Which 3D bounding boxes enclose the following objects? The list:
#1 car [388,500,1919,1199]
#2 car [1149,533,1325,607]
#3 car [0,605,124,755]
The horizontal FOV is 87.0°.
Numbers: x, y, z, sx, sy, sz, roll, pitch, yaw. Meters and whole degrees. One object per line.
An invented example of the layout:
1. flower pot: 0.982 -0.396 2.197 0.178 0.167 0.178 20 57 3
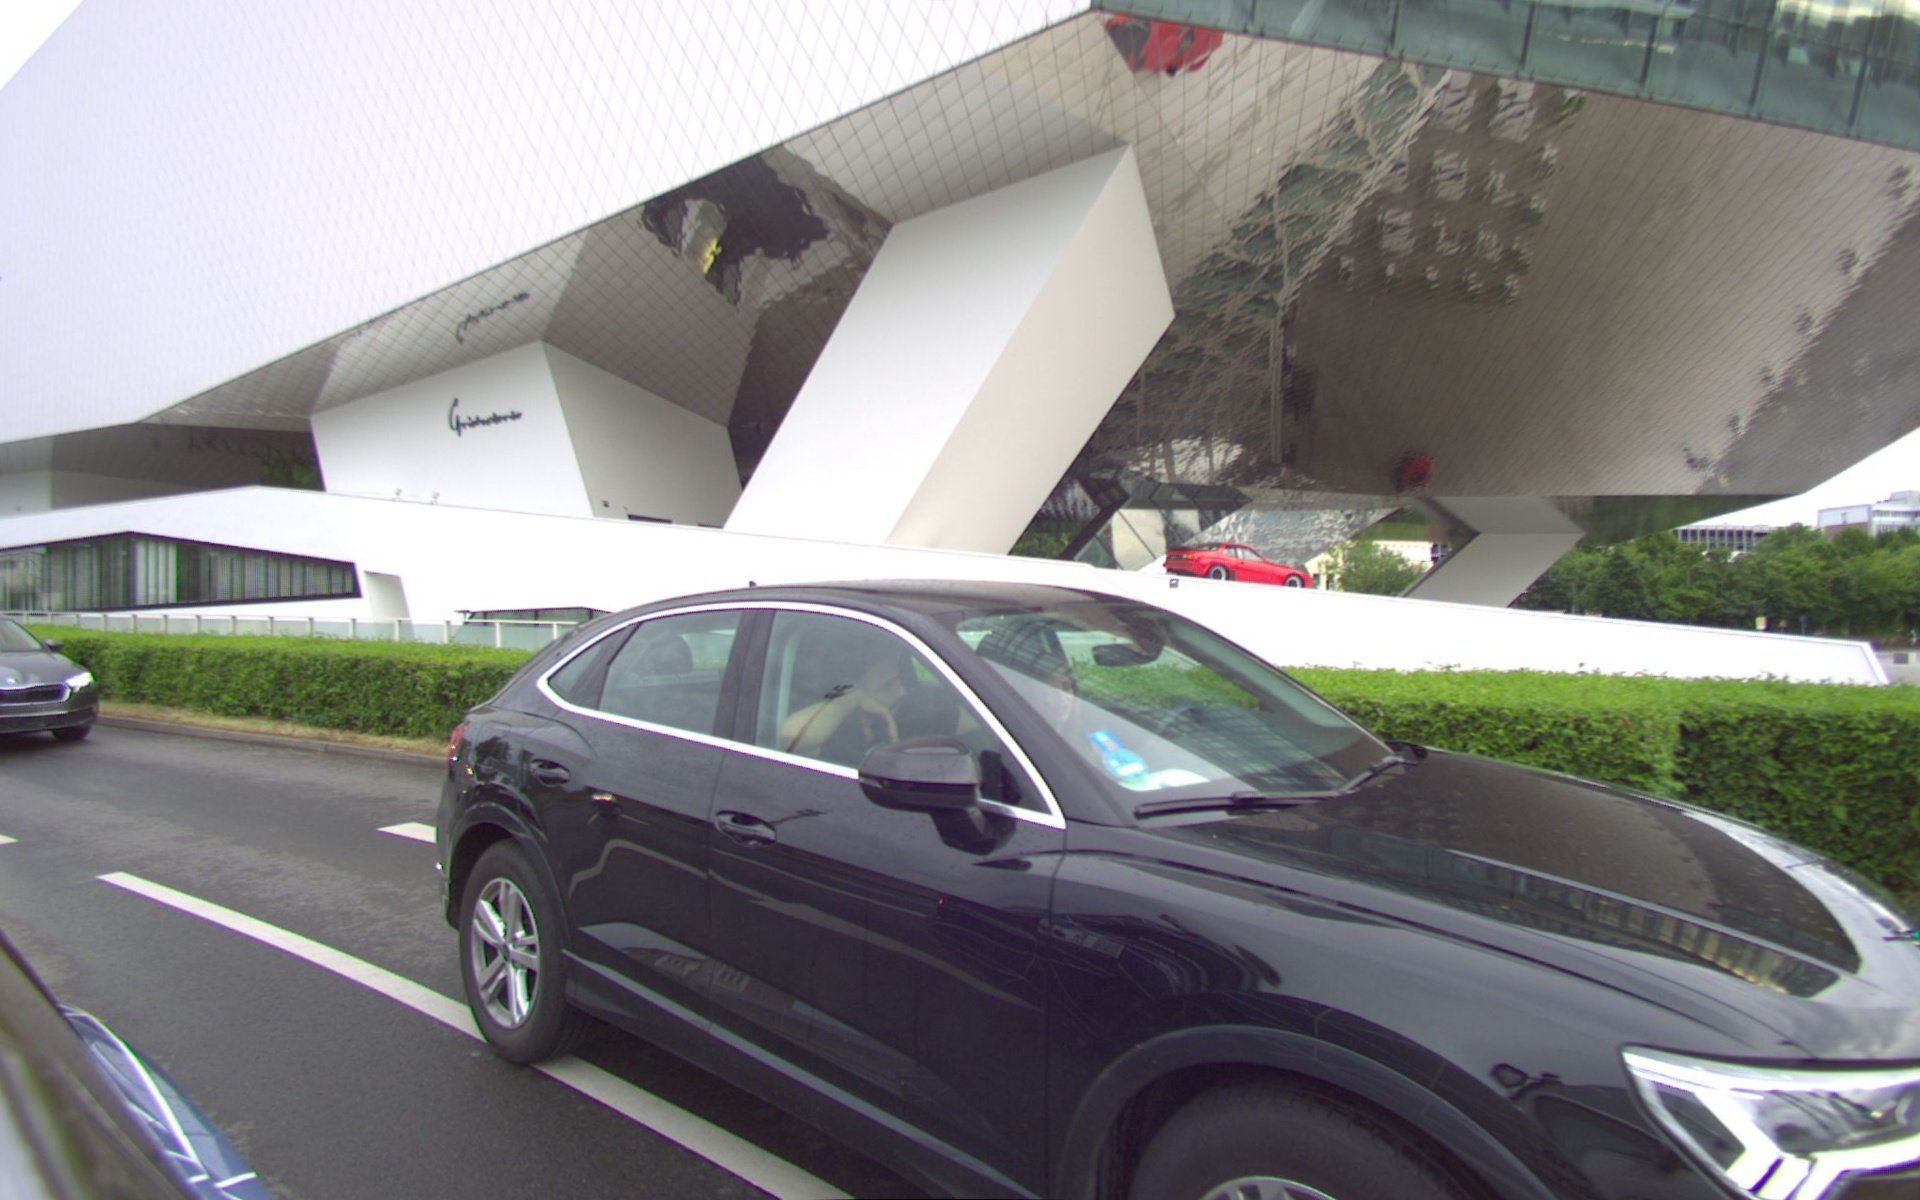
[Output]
1. car: 0.174 0.661 2.864 4.392 1.529 1.734 0 0 40
2. car: 7.668 -0.788 28.101 4.175 1.394 2.006 8 -4 -16
3. car: -11.162 0.805 10.938 4.282 1.449 1.801 -1 0 28
